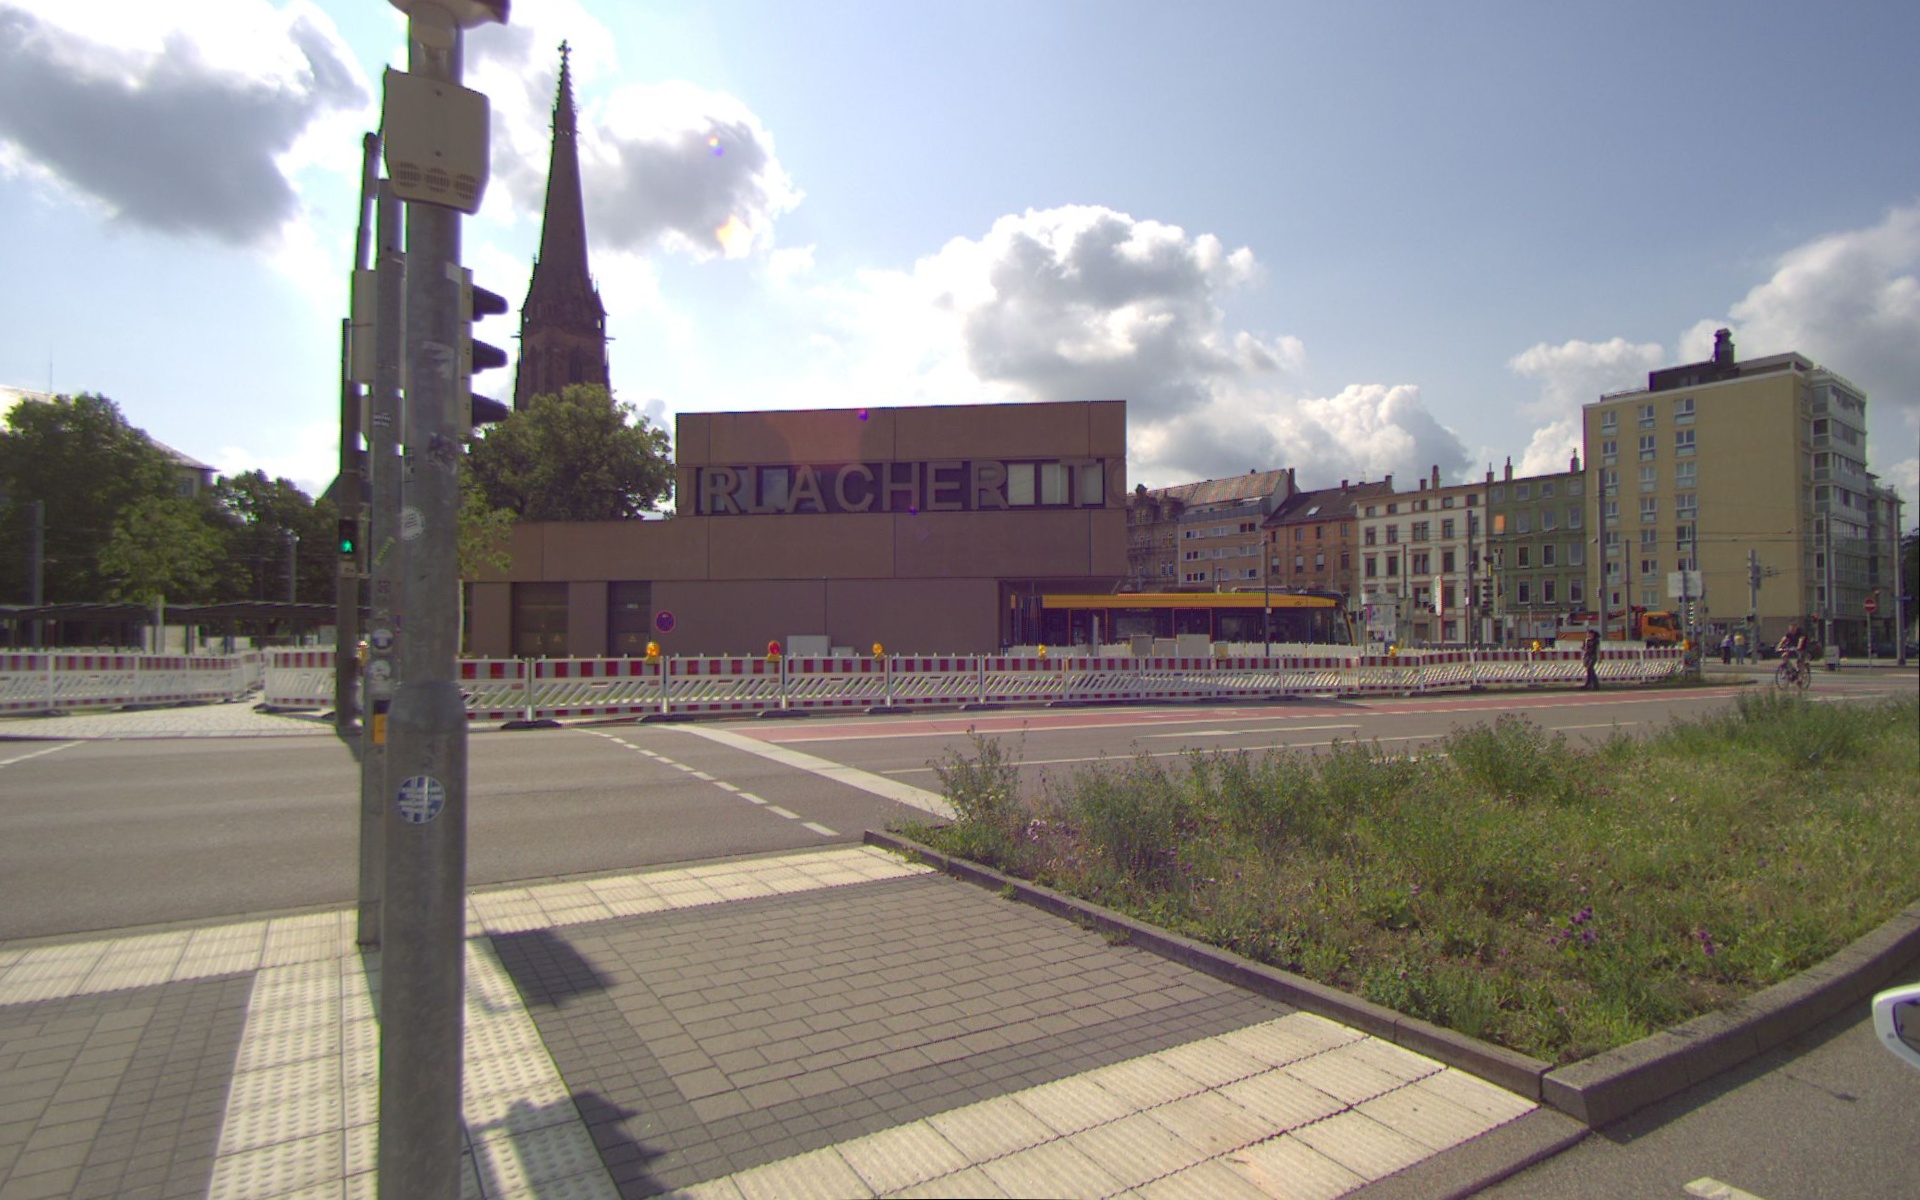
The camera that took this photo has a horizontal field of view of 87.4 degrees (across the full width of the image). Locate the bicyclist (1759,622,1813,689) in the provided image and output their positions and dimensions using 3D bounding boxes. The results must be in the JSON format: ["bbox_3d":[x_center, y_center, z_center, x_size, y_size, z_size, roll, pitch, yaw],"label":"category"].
[{"bbox_3d":[23.441,1.554,28.507,1.145,1.846,0.807,1,-2,-30],"label":"bicyclist"}]

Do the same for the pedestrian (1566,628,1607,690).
[{"bbox_3d":[17.537,1.653,28.127,0.632,1.703,0.733,1,-2,-25],"label":"pedestrian"}]

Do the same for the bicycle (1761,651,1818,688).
[{"bbox_3d":[23.608,1.963,28.580,1.995,1.015,0.613,1,-2,-31],"label":"bicycle"}]

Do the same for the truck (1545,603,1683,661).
[{"bbox_3d":[46.099,2.278,71.042,2.180,3.906,7.856,2,-3,-37],"label":"truck"}]

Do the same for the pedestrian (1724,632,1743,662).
[{"bbox_3d":[48.633,2.969,63.154,0.770,1.892,0.649,1,-2,-21],"label":"pedestrian"}]

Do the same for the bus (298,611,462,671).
[{"bbox_3d":[-30.719,2.199,53.305,7.606,3.098,2.376,-1,-2,7],"label":"bus"}]

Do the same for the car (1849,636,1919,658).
[{"bbox_3d":[73.395,3.736,79.745,1.985,1.684,3.952,2,-2,-41],"label":"car"}]

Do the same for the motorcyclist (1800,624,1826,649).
[{"bbox_3d":[60.493,2.589,71.225,1.222,1.805,0.887,1,-2,-17],"label":"motorcyclist"}]

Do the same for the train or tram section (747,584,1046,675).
[{"bbox_3d":[-2.550,1.237,41.984,12.161,3.611,2.632,0,-2,7],"label":"train or tram section"}]

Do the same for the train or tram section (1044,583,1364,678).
[{"bbox_3d":[9.544,1.232,40.461,12.161,3.619,2.670,0,-2,7],"label":"train or tram section"}]

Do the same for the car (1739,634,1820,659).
[{"bbox_3d":[57.090,3.187,70.021,1.797,1.528,4.038,2,0,-37],"label":"car"}]

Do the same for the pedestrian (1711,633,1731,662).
[{"bbox_3d":[48.383,3.016,63.841,0.807,1.884,0.697,1,-2,-22],"label":"pedestrian"}]
